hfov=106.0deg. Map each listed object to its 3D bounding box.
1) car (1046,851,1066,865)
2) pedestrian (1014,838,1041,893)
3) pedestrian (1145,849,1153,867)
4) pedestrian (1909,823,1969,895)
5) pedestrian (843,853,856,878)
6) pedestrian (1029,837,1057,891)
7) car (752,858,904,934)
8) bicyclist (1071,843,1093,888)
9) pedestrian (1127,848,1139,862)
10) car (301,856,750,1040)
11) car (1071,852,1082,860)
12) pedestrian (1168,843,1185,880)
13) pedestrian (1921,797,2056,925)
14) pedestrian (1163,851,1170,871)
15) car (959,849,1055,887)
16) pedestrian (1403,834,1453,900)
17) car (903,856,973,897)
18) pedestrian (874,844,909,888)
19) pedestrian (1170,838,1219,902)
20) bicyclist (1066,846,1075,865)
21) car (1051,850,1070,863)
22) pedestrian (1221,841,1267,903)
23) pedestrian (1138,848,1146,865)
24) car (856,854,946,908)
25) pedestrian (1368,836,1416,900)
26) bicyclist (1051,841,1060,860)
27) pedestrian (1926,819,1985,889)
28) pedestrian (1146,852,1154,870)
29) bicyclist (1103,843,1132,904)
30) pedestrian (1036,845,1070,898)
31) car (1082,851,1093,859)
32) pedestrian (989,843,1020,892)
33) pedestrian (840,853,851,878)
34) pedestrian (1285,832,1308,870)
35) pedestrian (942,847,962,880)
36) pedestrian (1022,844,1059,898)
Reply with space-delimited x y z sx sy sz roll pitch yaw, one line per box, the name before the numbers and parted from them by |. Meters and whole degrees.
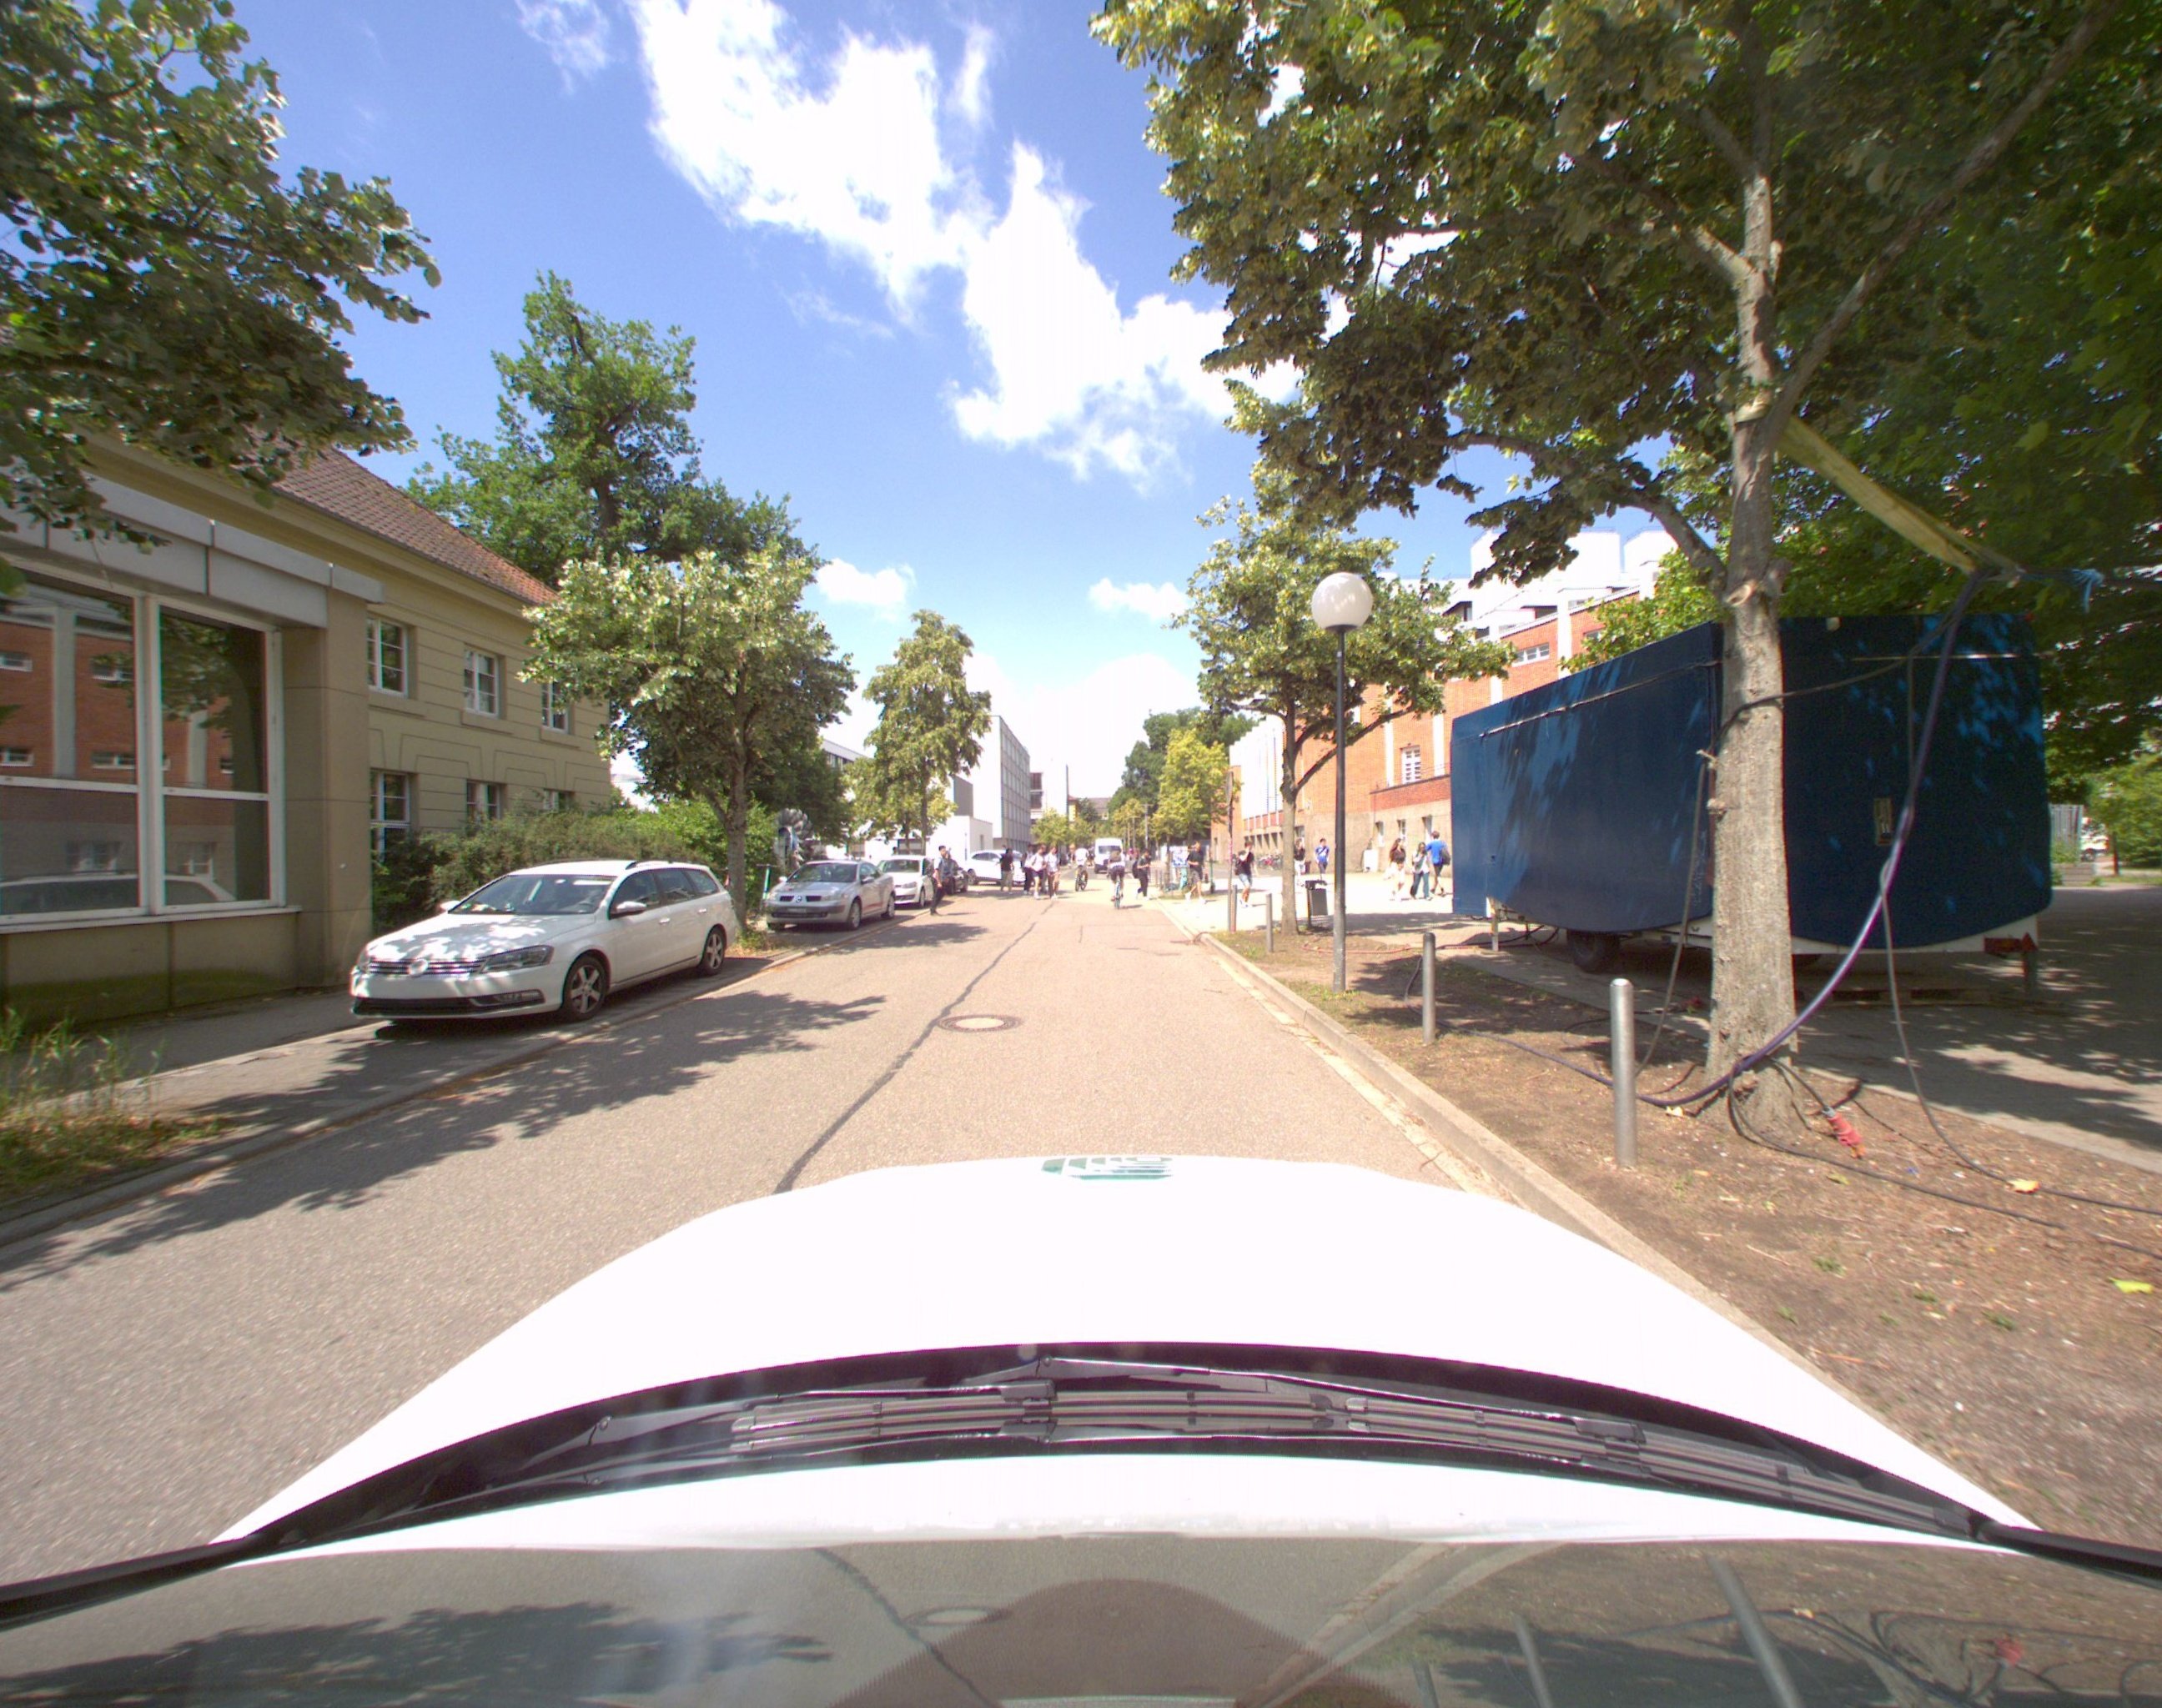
car | -2.923 0.467 95.025 1.787 1.530 4.006 -2 0 5
pedestrian | -1.956 0.431 29.764 0.620 1.980 0.821 -2 -2 -30
pedestrian | 7.438 0.439 89.593 0.787 1.860 1.026 -2 0 3
pedestrian | 19.713 0.104 18.718 0.657 1.607 0.678 -2 0 -14
pedestrian | -16.514 0.789 58.062 0.690 1.749 0.636 -1 0 2
pedestrian | -1.429 0.375 30.651 0.819 1.980 0.695 0 -1 24
car | -5.154 0.790 17.204 1.718 1.343 4.168 1 0 3
bicyclist | 0.042 0.445 32.258 0.767 1.756 0.850 -1 0 5
pedestrian | 7.902 0.201 124.101 1.495 1.996 1.646 -4 1 -1
car | -5.384 0.762 8.834 1.720 1.456 4.582 1 0 0
car | -0.942 0.413 161.045 1.787 1.530 4.006 -2 0 5
pedestrian | 4.598 0.337 39.118 0.700 1.694 0.962 -2 2 2
pedestrian | 13.222 0.087 11.892 0.957 1.775 0.917 -2 1 -7
pedestrian | 8.002 0.669 76.123 0.574 1.860 0.569 -2 0 -1
car | -3.403 0.611 36.831 1.935 1.619 4.465 2 -1 -44
pedestrian | 9.325 0.325 21.917 0.872 1.637 0.949 -5 3 2
car | -5.119 0.764 29.633 1.638 1.300 3.930 -2 0 3
pedestrian | -8.331 0.532 35.844 1.023 1.904 1.165 4 -3 -38
pedestrian | 3.400 0.483 24.404 0.859 1.860 1.103 -1 -2 -42
bicyclist | -0.964 0.127 74.320 0.665 1.681 0.992 -2 0 -3
car | -2.577 0.318 102.437 1.787 1.530 4.006 -2 0 5
pedestrian | 4.382 0.486 21.894 0.855 1.595 0.820 -3 1 -42
pedestrian | 6.507 0.249 87.112 0.787 1.860 1.244 -2 0 3
car | -5.031 0.705 23.218 1.656 1.411 3.808 0 0 1
pedestrian | 8.359 0.365 21.912 0.872 1.638 0.949 -3 1 1
bicyclist | -2.296 -0.323 73.299 0.641 1.601 0.909 -2 0 -1
pedestrian | 20.596 0.004 19.181 0.657 1.607 0.678 -2 0 -14
pedestrian | 7.382 0.738 86.814 0.787 1.860 1.026 -2 0 3
bicyclist | 1.024 0.539 23.046 0.715 1.662 1.095 1 0 0
pedestrian | -0.965 0.588 27.673 0.897 1.739 0.683 -1 0 39
car | 1.236 0.132 160.801 1.787 1.530 4.006 -2 0 5
pedestrian | -2.817 0.491 30.095 0.794 1.772 0.859 0 -1 24
pedestrian | -16.600 0.783 57.434 0.549 1.764 0.586 -1 0 2
pedestrian | 10.670 -0.151 40.384 0.787 1.860 1.116 -2 0 0
pedestrian | -7.113 0.522 44.812 0.979 1.785 0.668 -1 -1 -2
pedestrian | -1.347 0.566 27.123 0.971 1.739 0.705 -3 -1 40
